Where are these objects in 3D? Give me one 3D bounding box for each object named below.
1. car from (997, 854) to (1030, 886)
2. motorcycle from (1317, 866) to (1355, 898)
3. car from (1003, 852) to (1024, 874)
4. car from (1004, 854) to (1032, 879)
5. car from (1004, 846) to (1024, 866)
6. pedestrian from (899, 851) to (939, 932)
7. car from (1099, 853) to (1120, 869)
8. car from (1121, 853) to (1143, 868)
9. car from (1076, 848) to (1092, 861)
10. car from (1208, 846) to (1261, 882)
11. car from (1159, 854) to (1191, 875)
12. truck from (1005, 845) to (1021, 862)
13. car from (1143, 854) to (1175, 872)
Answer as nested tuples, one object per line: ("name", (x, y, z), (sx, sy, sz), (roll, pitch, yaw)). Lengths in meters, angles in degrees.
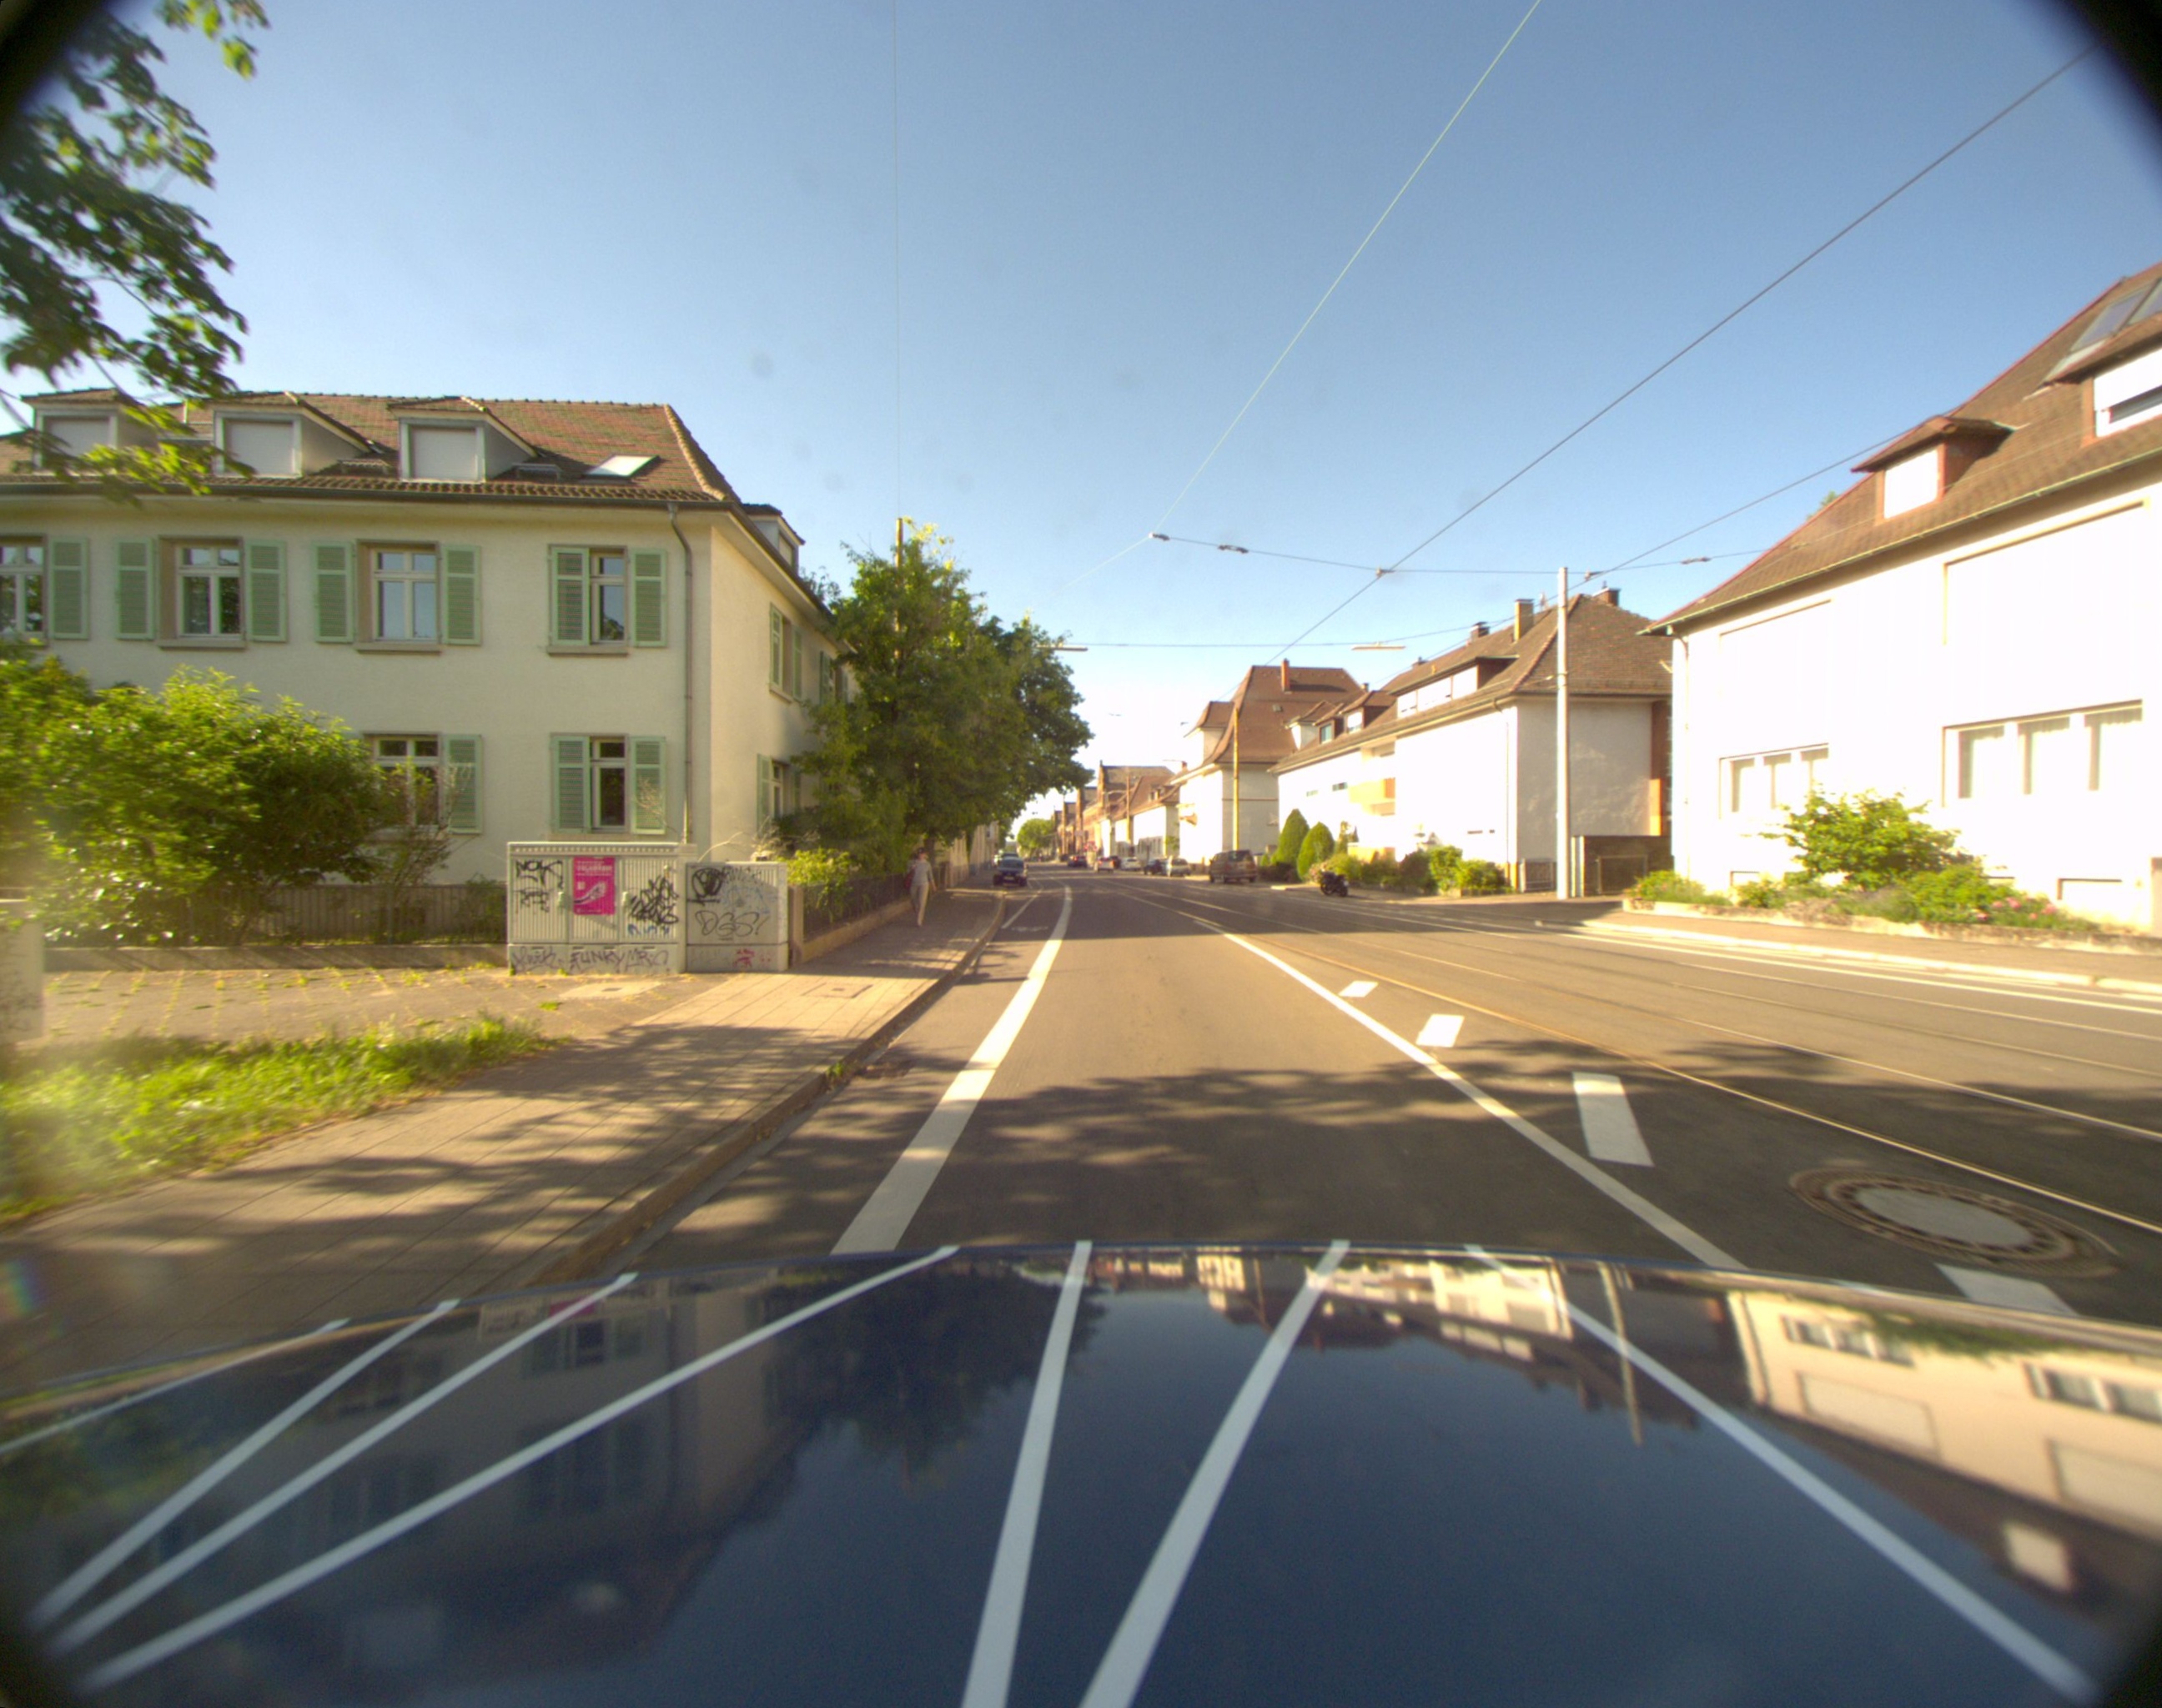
("car", (-3.605, 0.827, 41.019), (1.670, 1.555, 3.768), (0, 1, -4))
("motorcycle", (9.990, 1.065, 29.843), (0.538, 1.155, 2.170), (2, 0, -5))
("car", (-5.258, 0.683, 58.553), (1.462, 1.590, 3.292), (-2, 0, -7))
("car", (-4.177, 0.786, 49.977), (1.606, 1.516, 3.547), (-2, 0, -7))
("car", (-7.039, 0.243, 79.557), (1.911, 1.976, 4.560), (-2, 0, -6))
("pedestrian", (-3.462, 0.778, 16.286), (0.720, 1.678, 0.870), (1, 1, -6))
("car", (2.672, 0.630, 72.190), (1.580, 1.468, 3.439), (1, 0, -5))
("car", (5.393, 0.650, 80.518), (1.636, 1.449, 4.013), (1, 0, -5))
("car", (0.372, 0.051, 98.562), (1.709, 1.695, 4.361), (1, 0, -5))
("car", (9.037, 0.558, 45.142), (1.911, 2.002, 4.947), (-2, 0, -3))
("car", (7.323, 0.797, 59.512), (1.681, 1.468, 3.833), (-2, 0, -5))
("truck", (-10.310, -0.065, 114.912), (2.302, 2.463, 6.143), (0, 0, -5))
("car", (6.697, 0.767, 65.553), (1.668, 1.468, 4.247), (0, 0, -9))
